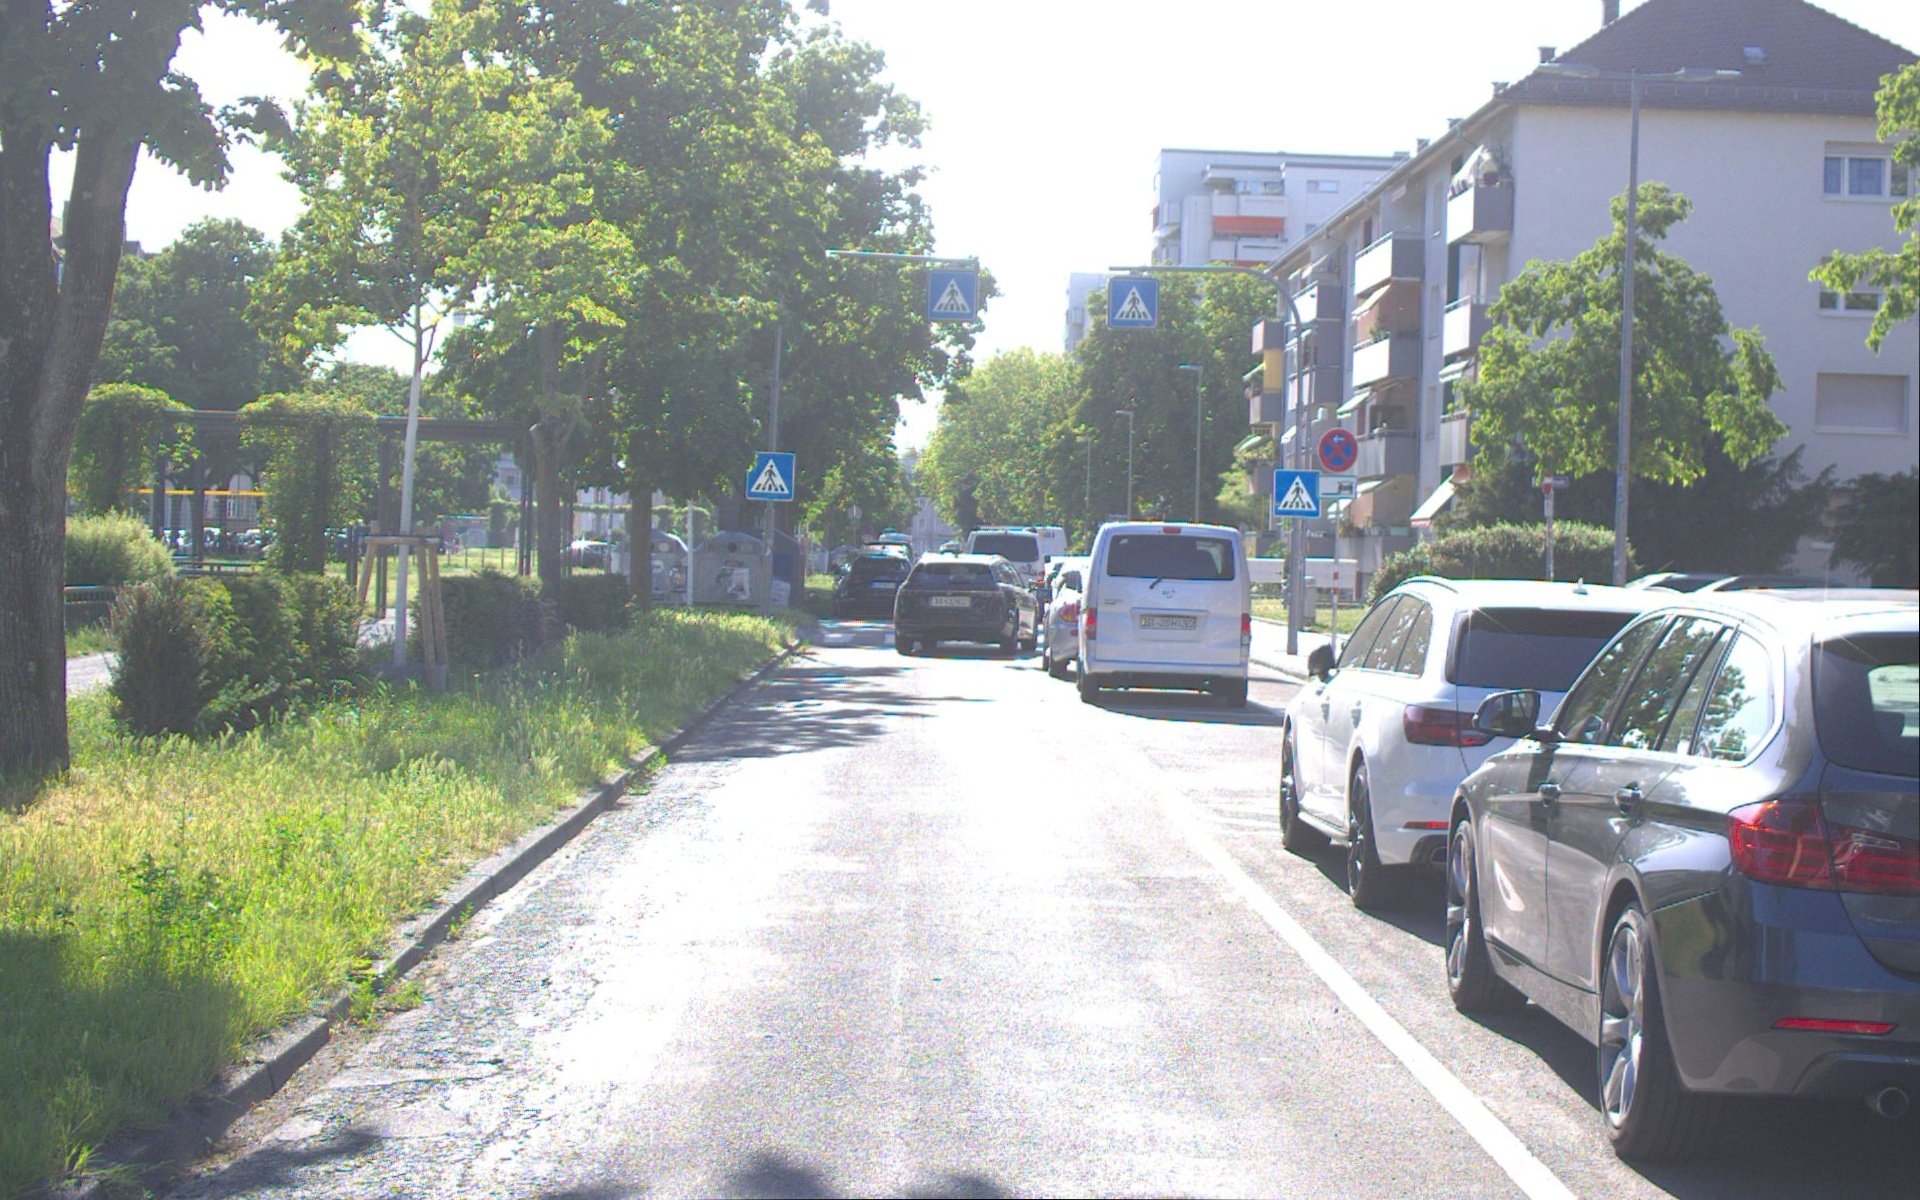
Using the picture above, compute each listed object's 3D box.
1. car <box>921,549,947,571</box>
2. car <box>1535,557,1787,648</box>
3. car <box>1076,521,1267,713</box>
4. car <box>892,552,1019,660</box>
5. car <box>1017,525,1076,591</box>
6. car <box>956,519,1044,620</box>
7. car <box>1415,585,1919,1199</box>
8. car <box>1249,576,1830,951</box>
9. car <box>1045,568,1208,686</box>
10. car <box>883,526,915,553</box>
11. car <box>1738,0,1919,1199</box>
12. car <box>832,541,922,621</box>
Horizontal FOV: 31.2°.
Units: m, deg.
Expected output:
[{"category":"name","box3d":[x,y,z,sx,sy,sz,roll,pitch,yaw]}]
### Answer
[{"category":"car","box3d":[-1.841,-2.856,243.808,1.794,1.505,4.000,1,1,0]},{"category":"car","box3d":[13.659,0.066,67.106,4.479,1.617,1.800,2,-1,-3]},{"category":"car","box3d":[2.179,0.130,36.427,1.794,1.848,4.413,2,1,1]},{"category":"car","box3d":[-0.078,0.058,51.586,1.794,1.505,4.000,2,1,0]},{"category":"car","box3d":[3.376,-1.654,134.757,1.993,2.422,4.500,4,1,0]},{"category":"car","box3d":[0.861,-0.683,75.733,1.794,2.115,4.000,2,1,0]},{"category":"car","box3d":[2.616,0.713,9.720,1.993,1.415,4.636,2,1,0]},{"category":"car","box3d":[2.505,0.636,16.025,1.794,1.415,4.658,2,1,-1]},{"category":"car","box3d":[2.031,0.314,42.914,1.764,1.314,4.168,3,0,0]},{"category":"car","box3d":[-3.532,-3.490,198.888,1.794,1.505,4.000,1,1,0]},{"category":"car","box3d":[2.630,0.279,3.081,2.115,2.507,6.533,2,1,-2]},{"category":"car","box3d":[-1.765,-0.428,73.998,1.794,1.619,4.000,2,1,0]}]
